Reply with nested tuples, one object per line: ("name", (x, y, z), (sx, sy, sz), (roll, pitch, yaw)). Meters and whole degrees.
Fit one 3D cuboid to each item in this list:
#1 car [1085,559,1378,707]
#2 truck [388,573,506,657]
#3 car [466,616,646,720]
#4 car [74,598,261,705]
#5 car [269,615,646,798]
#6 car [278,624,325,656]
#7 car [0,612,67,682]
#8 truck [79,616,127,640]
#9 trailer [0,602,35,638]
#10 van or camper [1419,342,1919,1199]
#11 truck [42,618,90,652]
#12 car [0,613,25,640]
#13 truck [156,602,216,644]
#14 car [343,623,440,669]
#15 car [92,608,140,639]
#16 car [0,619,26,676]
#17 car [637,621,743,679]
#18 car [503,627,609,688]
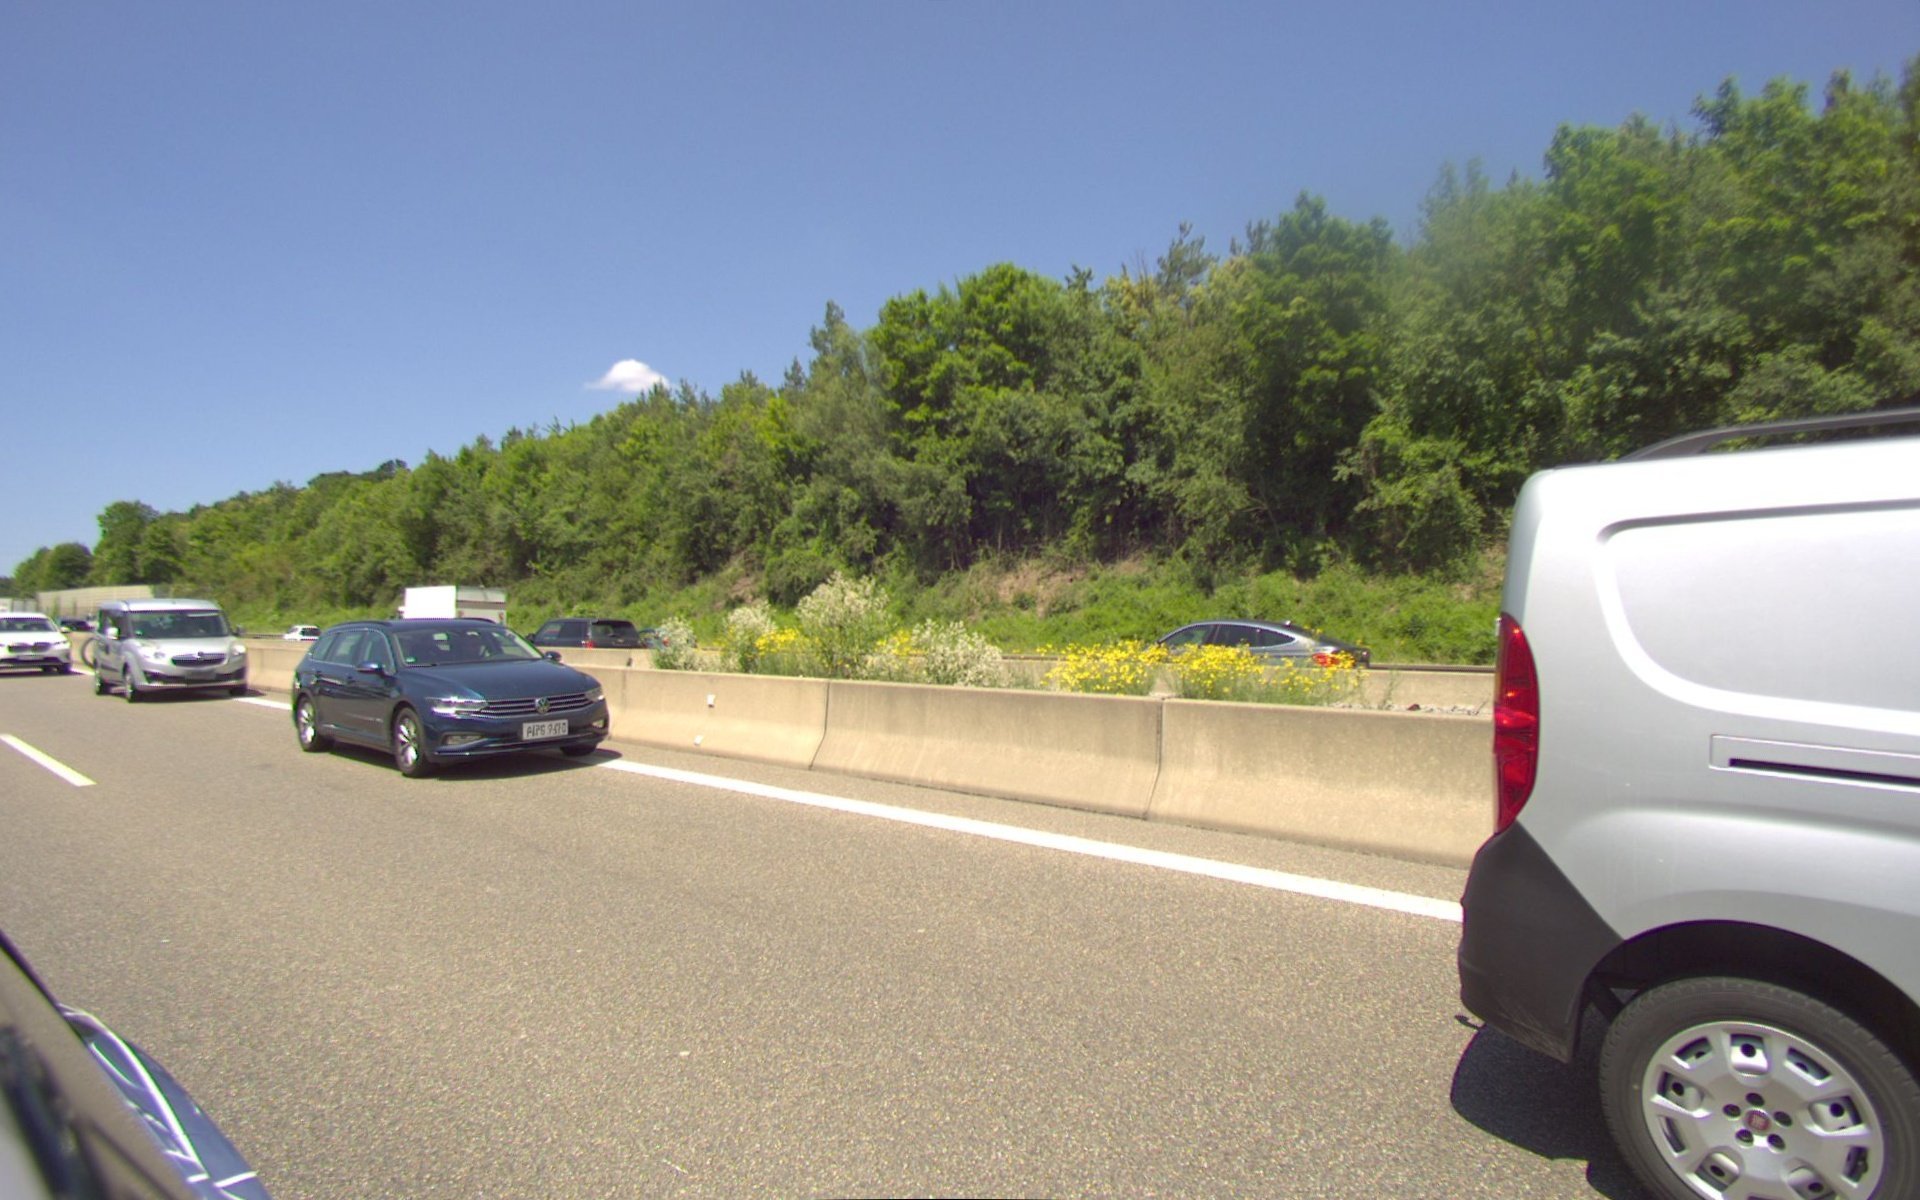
("car", (4.200, 0.500, 15.929), (3.996, 2.029, 1.974), (-2, -1, 39))
("truck", (-26.501, 0.713, 52.114), (7.986, 4.019, 2.664), (0, 0, 41))
("car", (-8.516, 1.319, 21.190), (3.998, 1.896, 1.887), (0, 0, 41))
("car", (-15.084, 0.860, 19.154), (4.914, 1.786, 1.834), (0, 0, 40))
("car", (-5.359, 0.899, 10.478), (4.675, 1.461, 1.855), (-1, 0, 41))
("car", (-44.420, 2.666, 68.236), (3.511, 2.029, 1.832), (0, 0, 41))
("car", (-25.450, 1.201, 27.105), (3.998, 1.719, 1.800), (0, 0, 41))
("truck", (-78.999, 2.523, 93.299), (6.487, 2.029, 2.327), (0, 0, 40))
("trailer", (-124.374, 2.537, 132.999), (10.811, 4.515, 2.919), (0, 0, 41))
("van or camper", (3.491, 0.409, 1.743), (4.560, 1.894, 1.833), (-2, -1, 42))
("truck", (-53.974, 2.114, 61.077), (3.998, 1.962, 1.682), (-1, -1, 42))
("car", (-76.541, 2.125, 81.274), (4.959, 2.029, 1.971), (0, 0, 45))
("truck", (-56.580, 1.601, 73.949), (6.738, 2.906, 2.155), (0, 0, 40))
("car", (-21.297, 1.668, 37.887), (3.998, 1.531, 1.973), (0, 0, 41))
("car", (-58.888, 1.615, 70.612), (4.418, 2.029, 1.972), (0, 0, 42))
("car", (-32.401, 1.553, 33.269), (3.996, 1.770, 1.974), (0, 0, 39))
("car", (-10.340, 1.850, 38.657), (3.997, 2.029, 1.973), (0, 0, 40))
("car", (-14.922, 2.060, 37.318), (3.997, 2.029, 1.973), (0, 0, 40))
